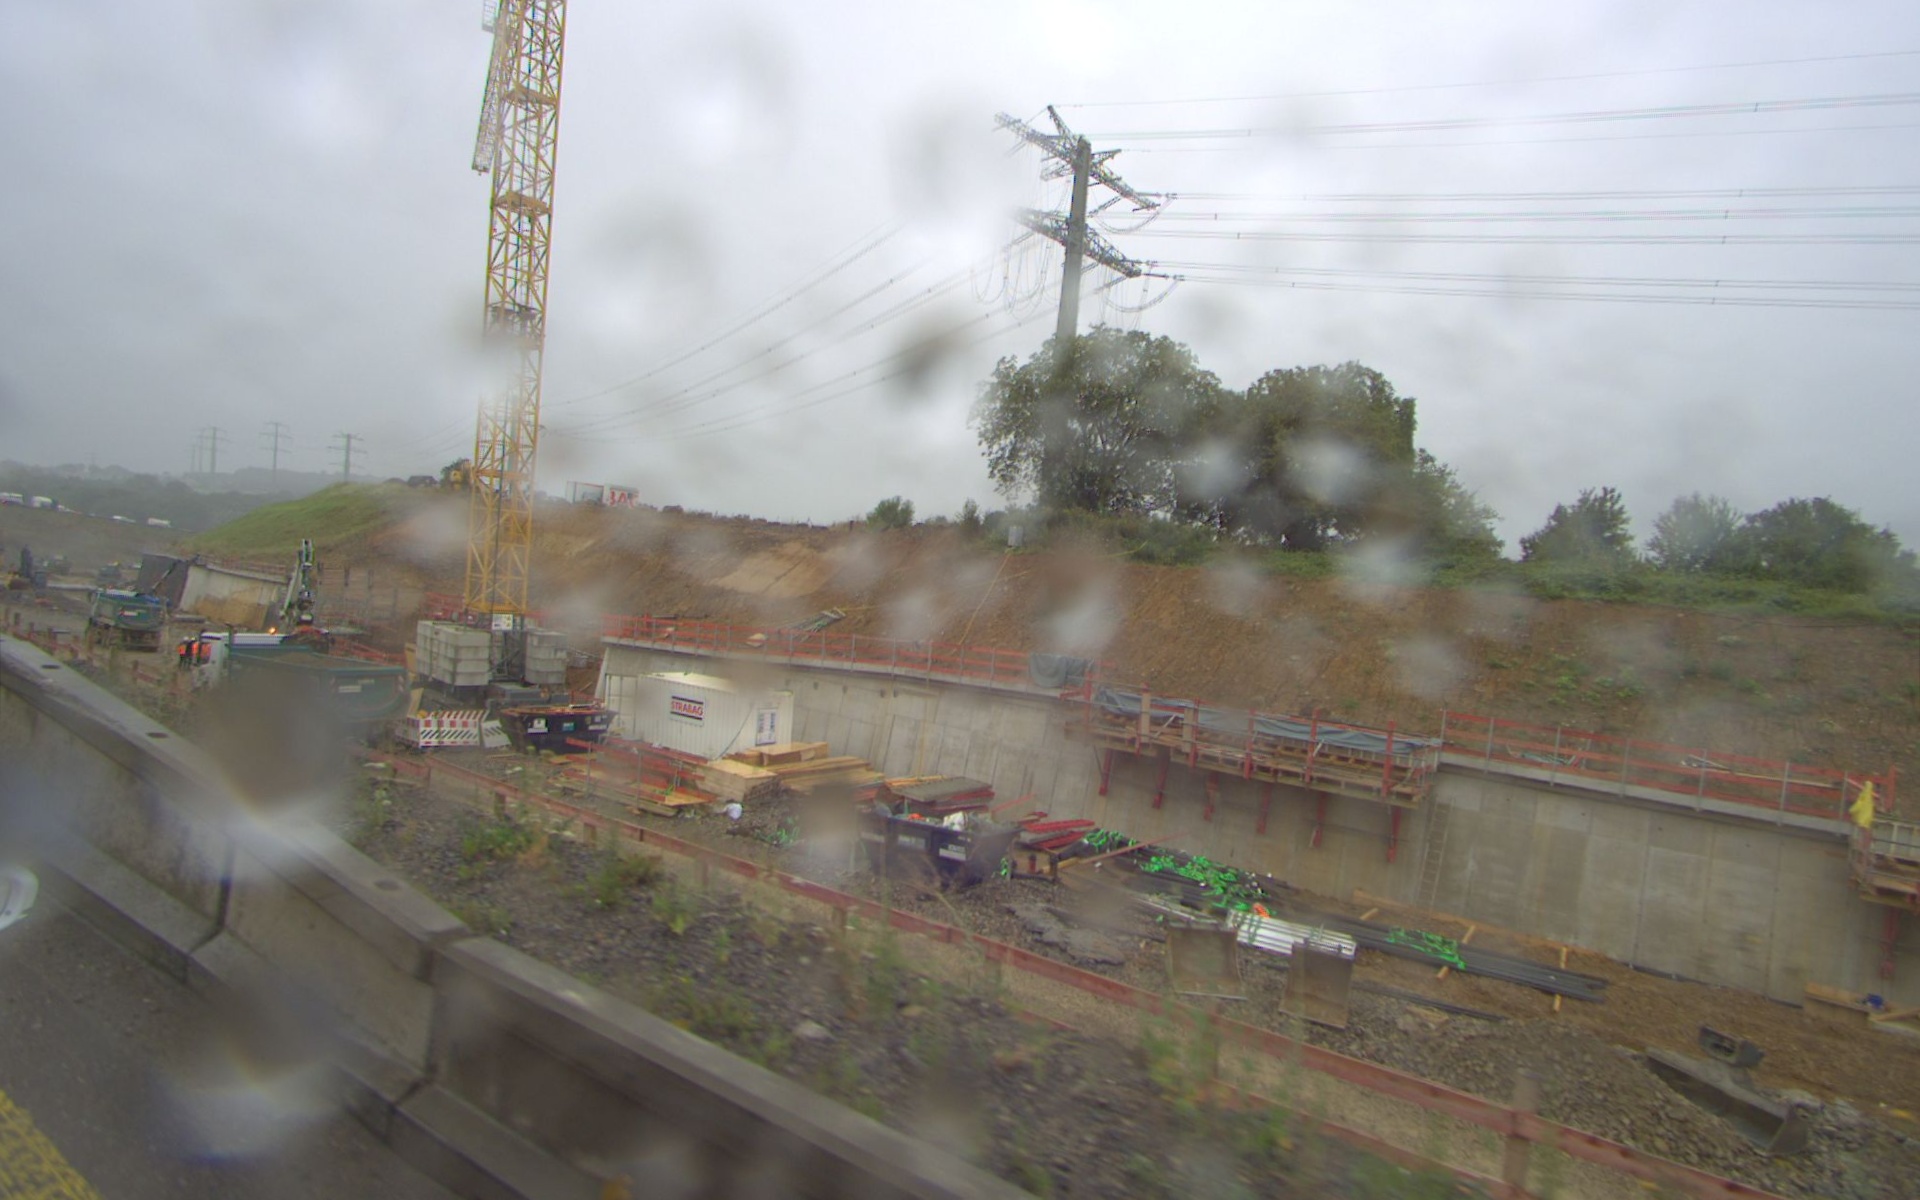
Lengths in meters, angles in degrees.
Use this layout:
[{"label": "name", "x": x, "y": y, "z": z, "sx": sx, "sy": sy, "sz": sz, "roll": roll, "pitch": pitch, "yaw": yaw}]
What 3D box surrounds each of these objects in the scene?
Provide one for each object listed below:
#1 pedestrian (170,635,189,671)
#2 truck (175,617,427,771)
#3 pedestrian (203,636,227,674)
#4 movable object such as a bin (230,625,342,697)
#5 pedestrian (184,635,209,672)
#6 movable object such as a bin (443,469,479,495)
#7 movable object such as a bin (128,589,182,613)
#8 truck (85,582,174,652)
[{"label": "pedestrian", "x": -42.578, "y": 2.890, "z": 54.884, "sx": 0.725, "sy": 1.892, "sz": 0.572, "roll": 6, "pitch": 0, "yaw": 42}, {"label": "truck", "x": -21.161, "y": 2.844, "z": 32.110, "sx": 8.795, "sy": 3.545, "sz": 2.705, "roll": 6, "pitch": -1, "yaw": 29}, {"label": "pedestrian", "x": -40.837, "y": 3.016, "z": 55.126, "sx": 0.724, "sy": 1.967, "sz": 0.573, "roll": 7, "pitch": 0, "yaw": -16}, {"label": "movable object such as a bin", "x": -30.212, "y": 2.753, "z": 45.143, "sx": 2.923, "sy": 2.770, "sz": 3.151, "roll": 6, "pitch": -2, "yaw": 36}, {"label": "pedestrian", "x": -41.602, "y": 2.910, "z": 54.817, "sx": 0.721, "sy": 1.967, "sz": 0.576, "roll": 7, "pitch": 0, "yaw": 8}, {"label": "movable object such as a bin", "x": -58.953, "y": -13.937, "z": 118.849, "sx": 3.915, "sy": 2.473, "sz": 2.425, "roll": 9, "pitch": 0, "yaw": 44}, {"label": "movable object such as a bin", "x": -84.114, "y": 0.098, "z": 105.179, "sx": 3.770, "sy": 2.035, "sz": 2.003, "roll": 6, "pitch": -3, "yaw": -1}, {"label": "truck", "x": -53.823, "y": 1.020, "z": 65.106, "sx": 8.937, "sy": 3.532, "sz": 2.727, "roll": 6, "pitch": -2, "yaw": 41}]
